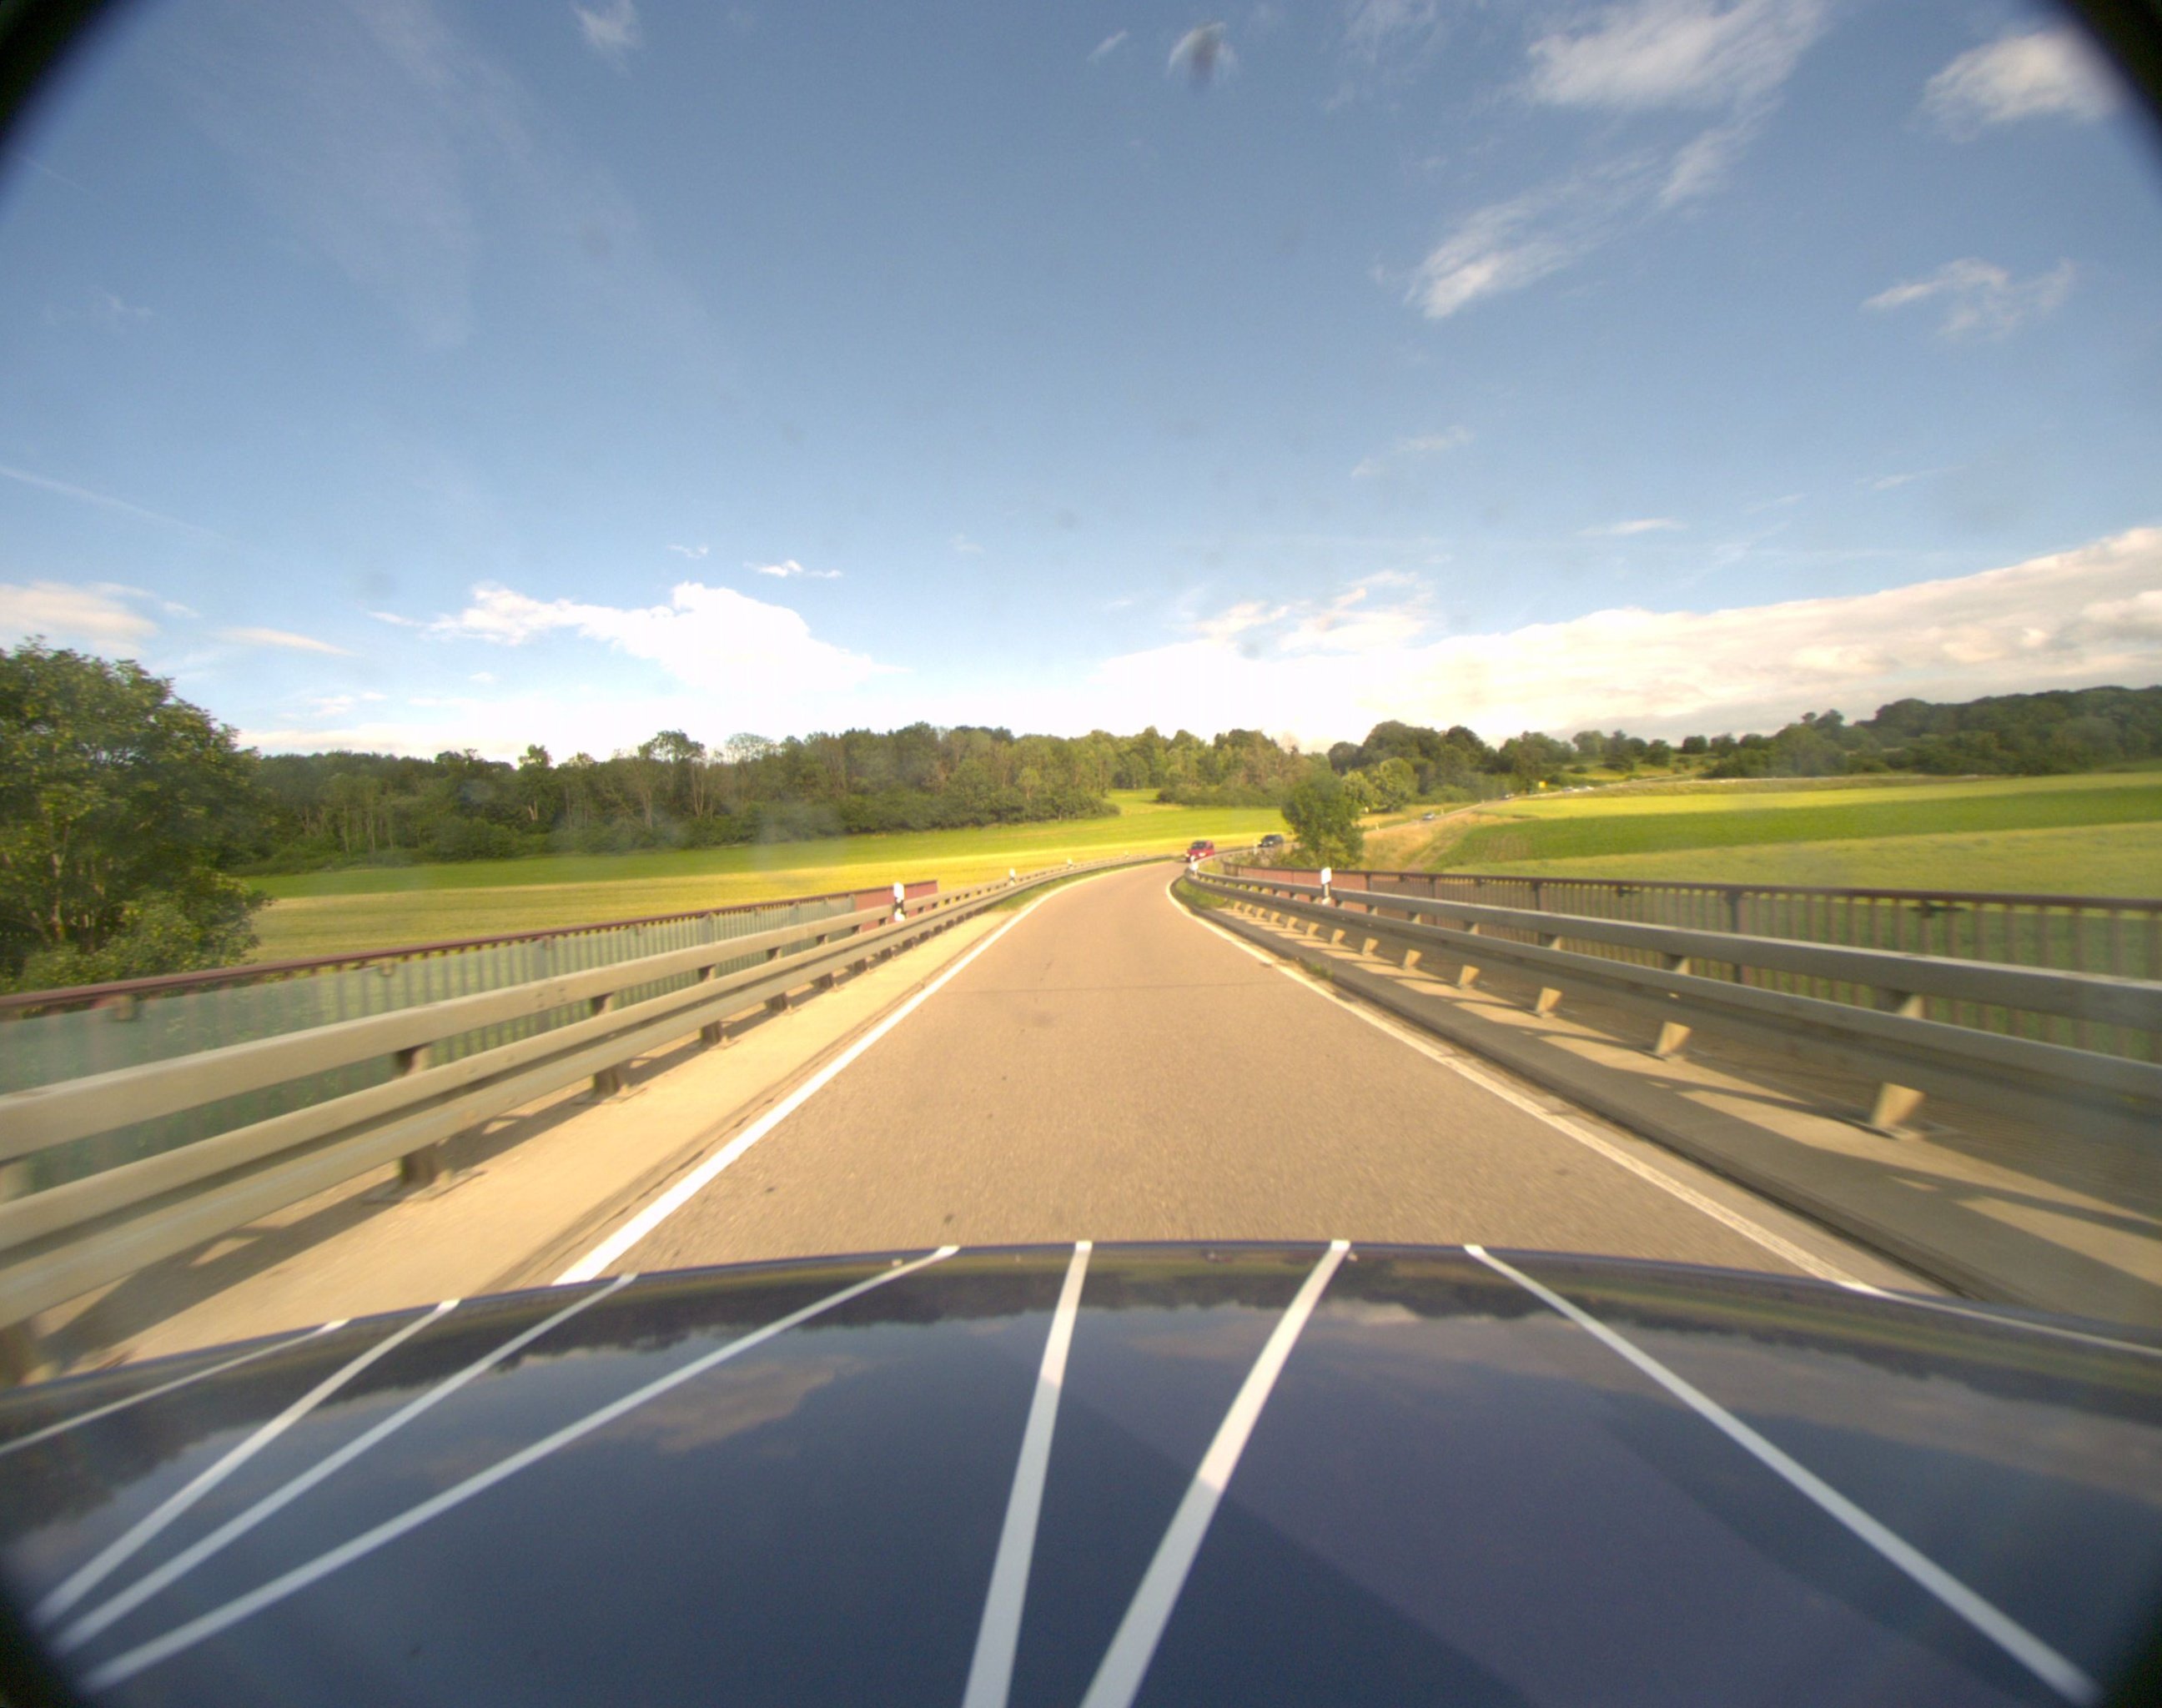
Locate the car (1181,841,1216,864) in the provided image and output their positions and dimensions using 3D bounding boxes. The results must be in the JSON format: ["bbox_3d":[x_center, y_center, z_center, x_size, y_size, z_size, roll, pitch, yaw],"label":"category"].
[{"bbox_3d":[10.117,-0.157,65.212,1.818,1.646,4.004,-4,3,24],"label":"car"}]

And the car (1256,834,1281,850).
[{"bbox_3d":[21.349,-1.340,86.389,1.817,1.602,4.005,-1,3,27],"label":"car"}]
